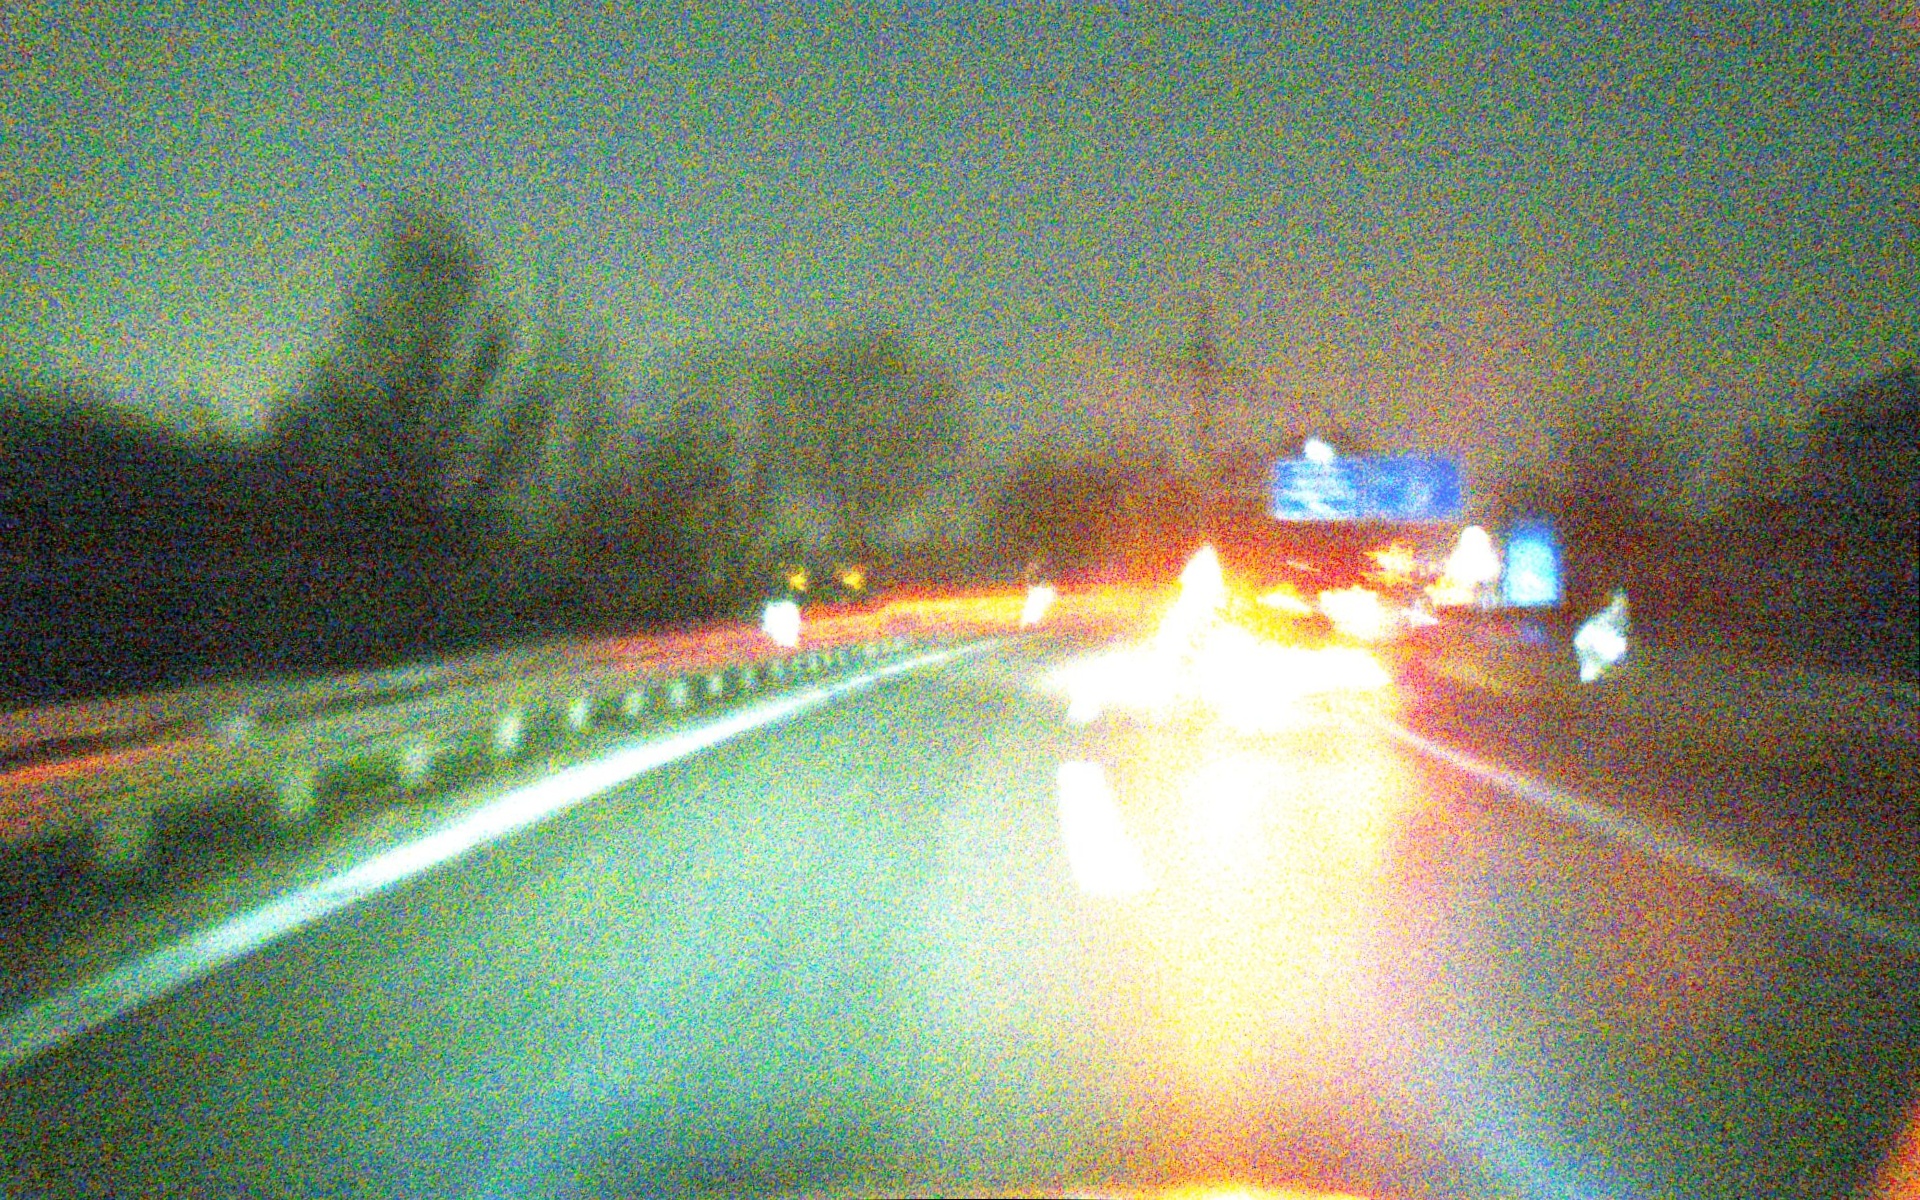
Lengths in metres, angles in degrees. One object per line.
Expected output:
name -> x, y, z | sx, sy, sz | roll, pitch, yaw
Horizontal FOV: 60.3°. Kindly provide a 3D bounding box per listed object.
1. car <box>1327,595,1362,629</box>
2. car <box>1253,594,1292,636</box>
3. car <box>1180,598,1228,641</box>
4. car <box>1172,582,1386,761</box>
car -> 24.090, 0.739, 103.505 | 1.855, 2.033, 4.048 | 0, 0, 17
car -> 15.881, 0.747, 84.039 | 1.855, 2.076, 4.049 | 0, 0, 12
car -> 10.254, 0.804, 69.283 | 1.855, 1.751, 4.049 | 1, 0, 10
car -> 3.399, 0.692, 18.309 | 1.821, 1.676, 4.071 | 2, 0, 4
